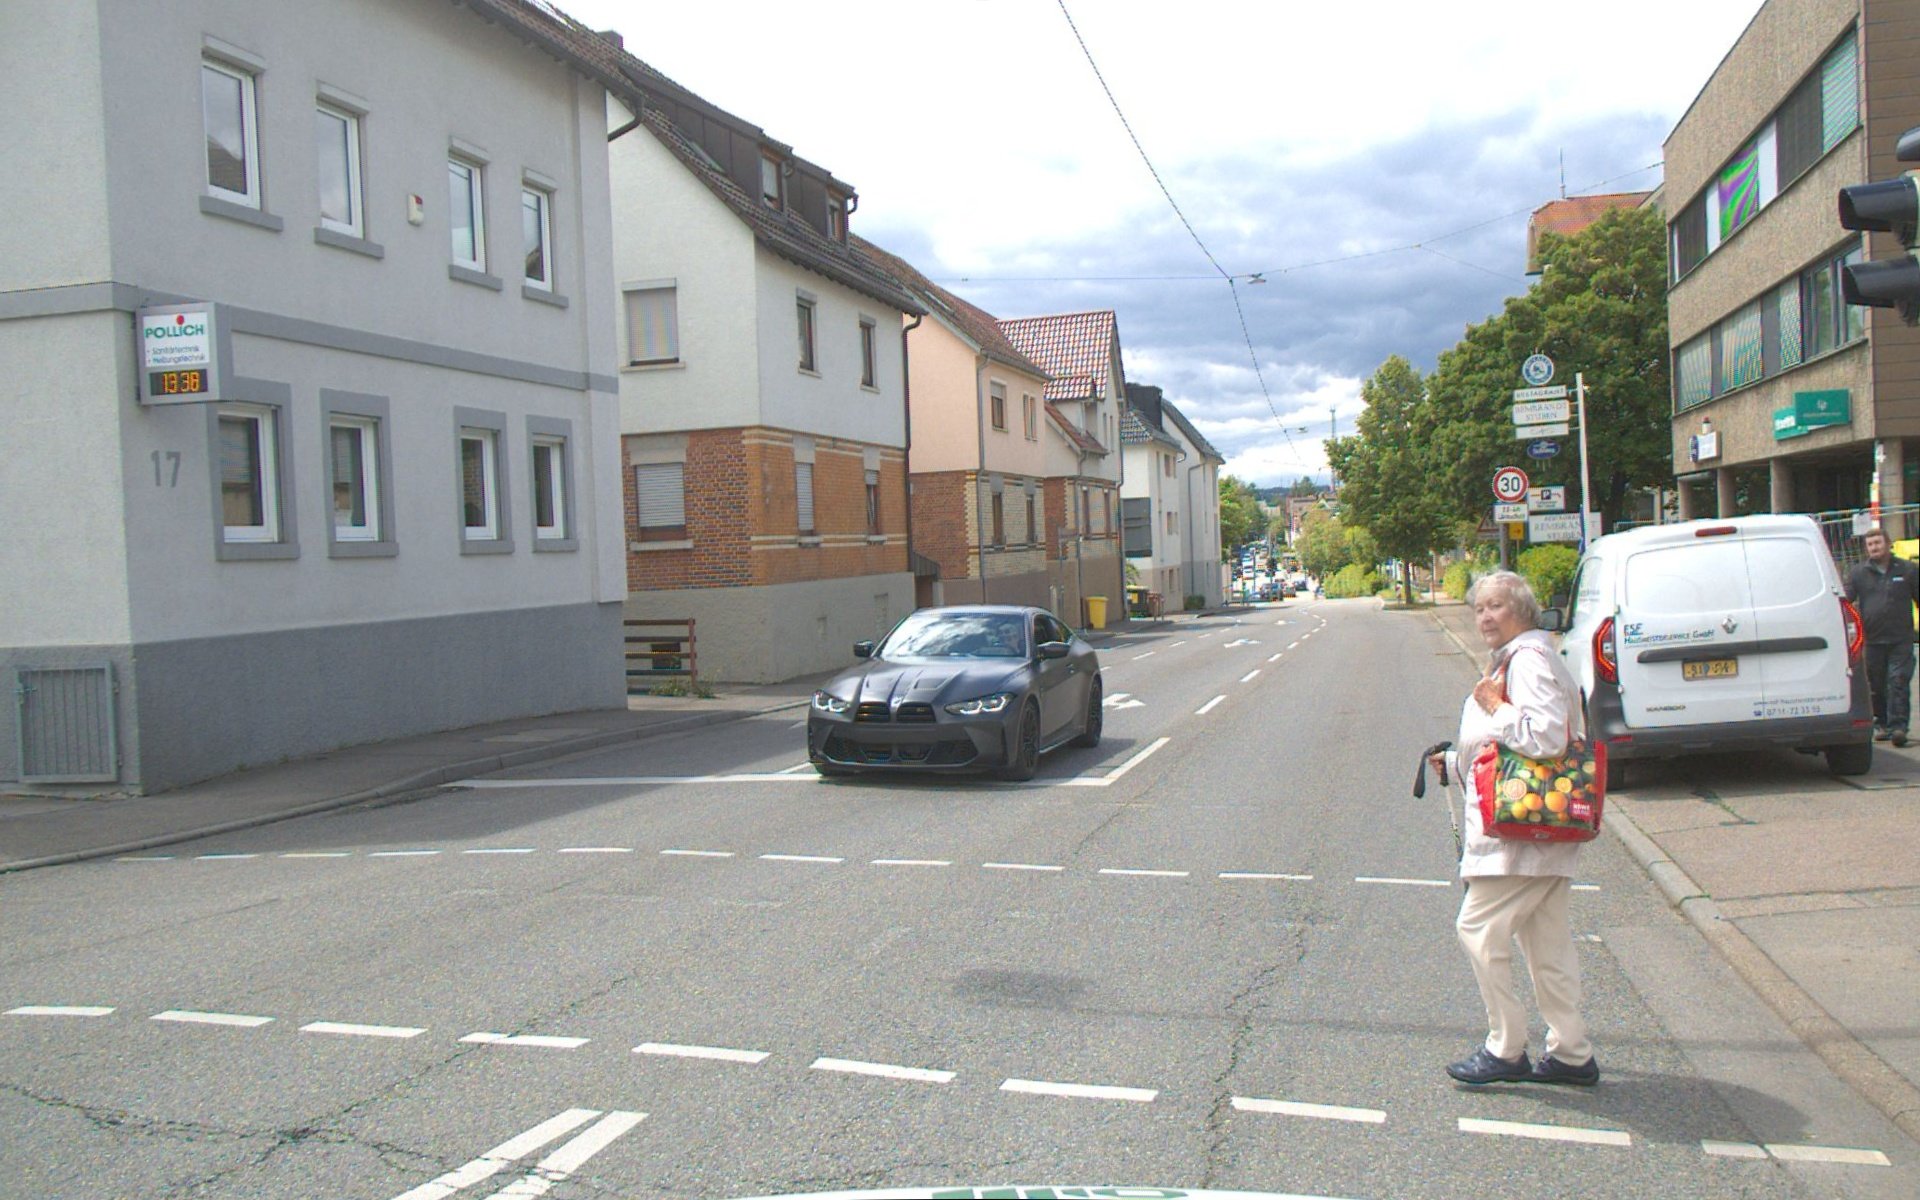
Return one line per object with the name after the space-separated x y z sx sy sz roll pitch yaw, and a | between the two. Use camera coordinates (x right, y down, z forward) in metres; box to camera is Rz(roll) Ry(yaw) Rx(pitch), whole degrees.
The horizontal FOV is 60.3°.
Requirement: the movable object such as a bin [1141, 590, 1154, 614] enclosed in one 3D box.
8.363 0.100 73.704 0.520 1.048 0.455 -2 0 13 | movable object such as a bin

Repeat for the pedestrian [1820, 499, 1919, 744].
7.291 0.149 12.869 0.825 1.834 0.651 -4 0 14 | pedestrian

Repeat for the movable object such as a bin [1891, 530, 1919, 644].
13.925 -0.222 23.005 1.451 1.518 1.077 -3 2 18 | movable object such as a bin

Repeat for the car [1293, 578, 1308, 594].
48.768 -1.993 236.759 1.951 2.049 4.003 -3 -1 10 | car

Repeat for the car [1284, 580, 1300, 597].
44.546 -1.520 222.119 1.951 2.049 4.003 -3 -1 10 | car

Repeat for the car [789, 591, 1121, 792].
0.155 0.693 15.147 1.951 1.482 4.621 0 1 14 | car

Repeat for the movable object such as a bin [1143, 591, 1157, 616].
8.449 0.153 73.418 0.520 1.048 0.455 -2 0 13 | movable object such as a bin

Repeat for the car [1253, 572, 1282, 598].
25.438 -1.211 136.890 1.951 2.049 4.003 -2 0 6 | car

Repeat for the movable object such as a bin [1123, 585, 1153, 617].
7.805 0.055 72.472 1.254 1.332 0.817 -2 0 9 | movable object such as a bin

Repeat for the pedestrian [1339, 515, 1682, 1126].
1.711 0.598 5.074 0.854 1.665 0.836 -1 2 26 | pedestrian

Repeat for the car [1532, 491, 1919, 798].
5.708 0.272 12.938 1.871 1.825 4.494 -6 -1 15 | car

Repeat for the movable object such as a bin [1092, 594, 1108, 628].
4.799 0.374 56.655 0.422 1.147 0.299 -3 0 13 | movable object such as a bin
